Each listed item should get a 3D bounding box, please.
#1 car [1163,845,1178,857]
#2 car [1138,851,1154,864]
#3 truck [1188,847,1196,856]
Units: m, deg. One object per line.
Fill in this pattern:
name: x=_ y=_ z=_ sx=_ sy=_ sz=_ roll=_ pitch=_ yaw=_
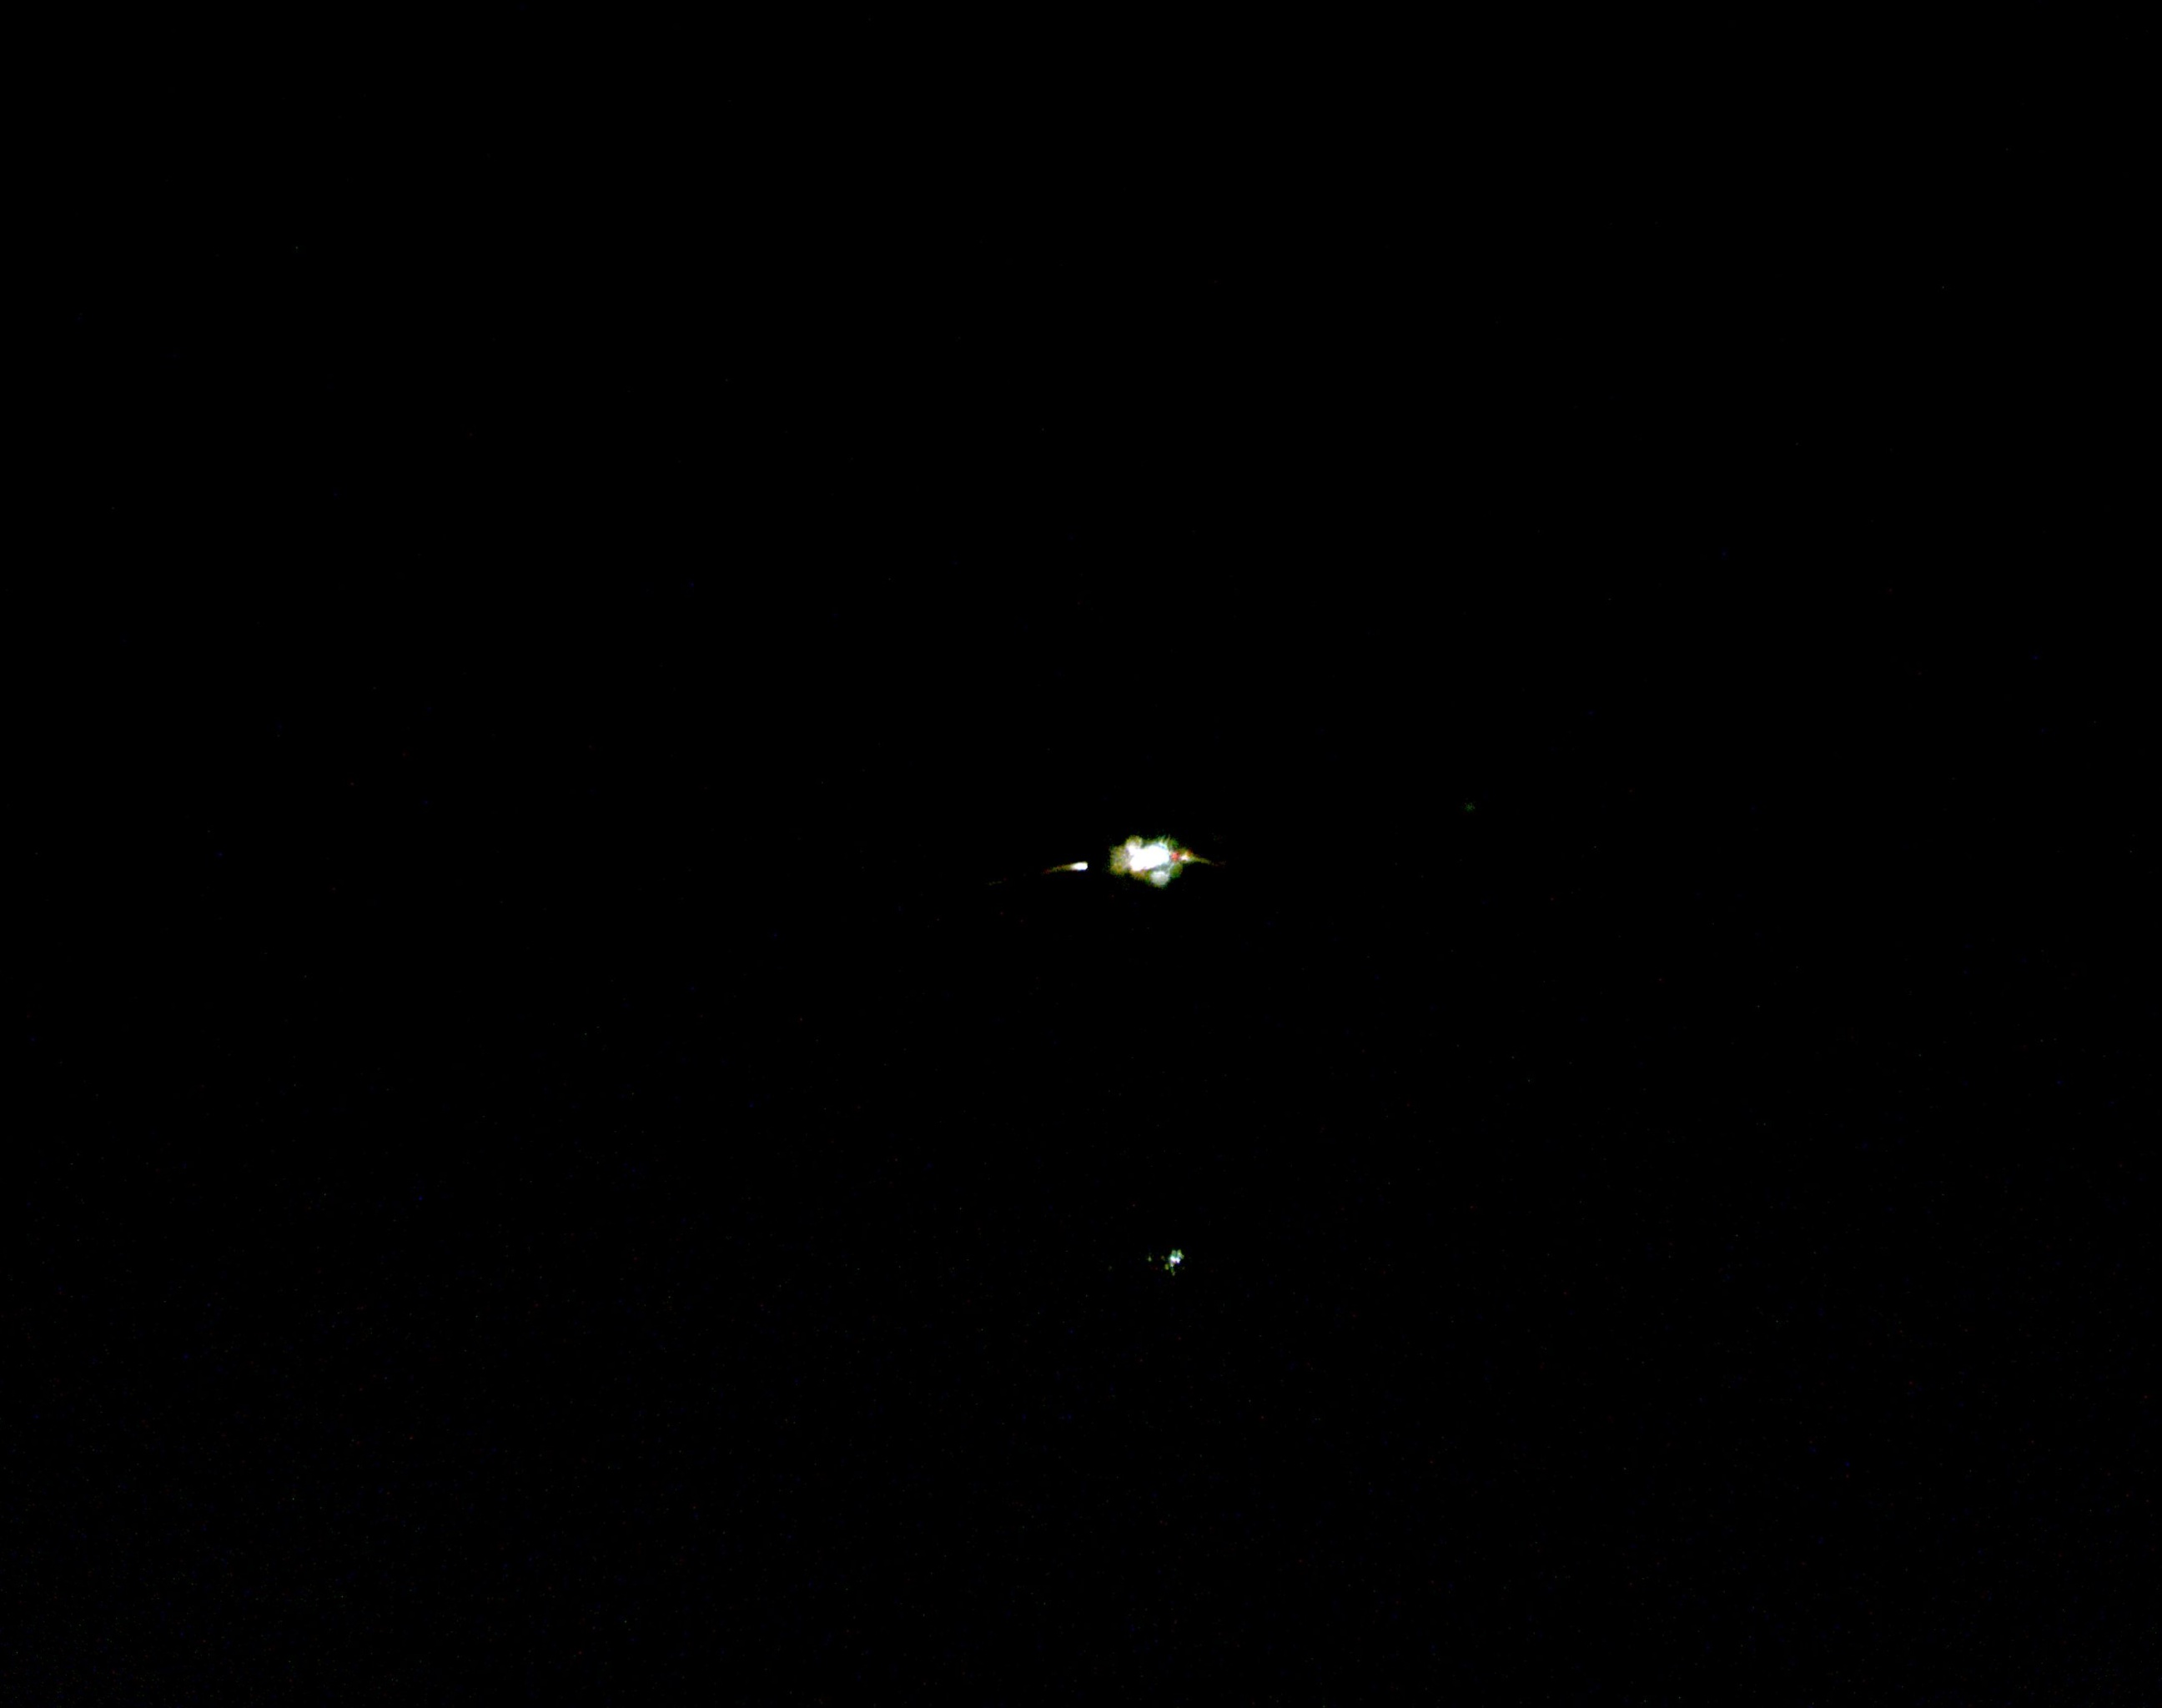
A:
car: x=12.508 y=-0.452 z=106.271 sx=1.924 sy=1.636 sz=4.027 roll=-1 pitch=0 yaw=7
car: x=8.648 y=0.480 z=100.822 sx=1.745 sy=1.623 sz=3.739 roll=-1 pitch=0 yaw=12
truck: x=32.036 y=-0.826 z=220.221 sx=2.141 sy=2.520 sz=5.282 roll=-1 pitch=0 yaw=8
